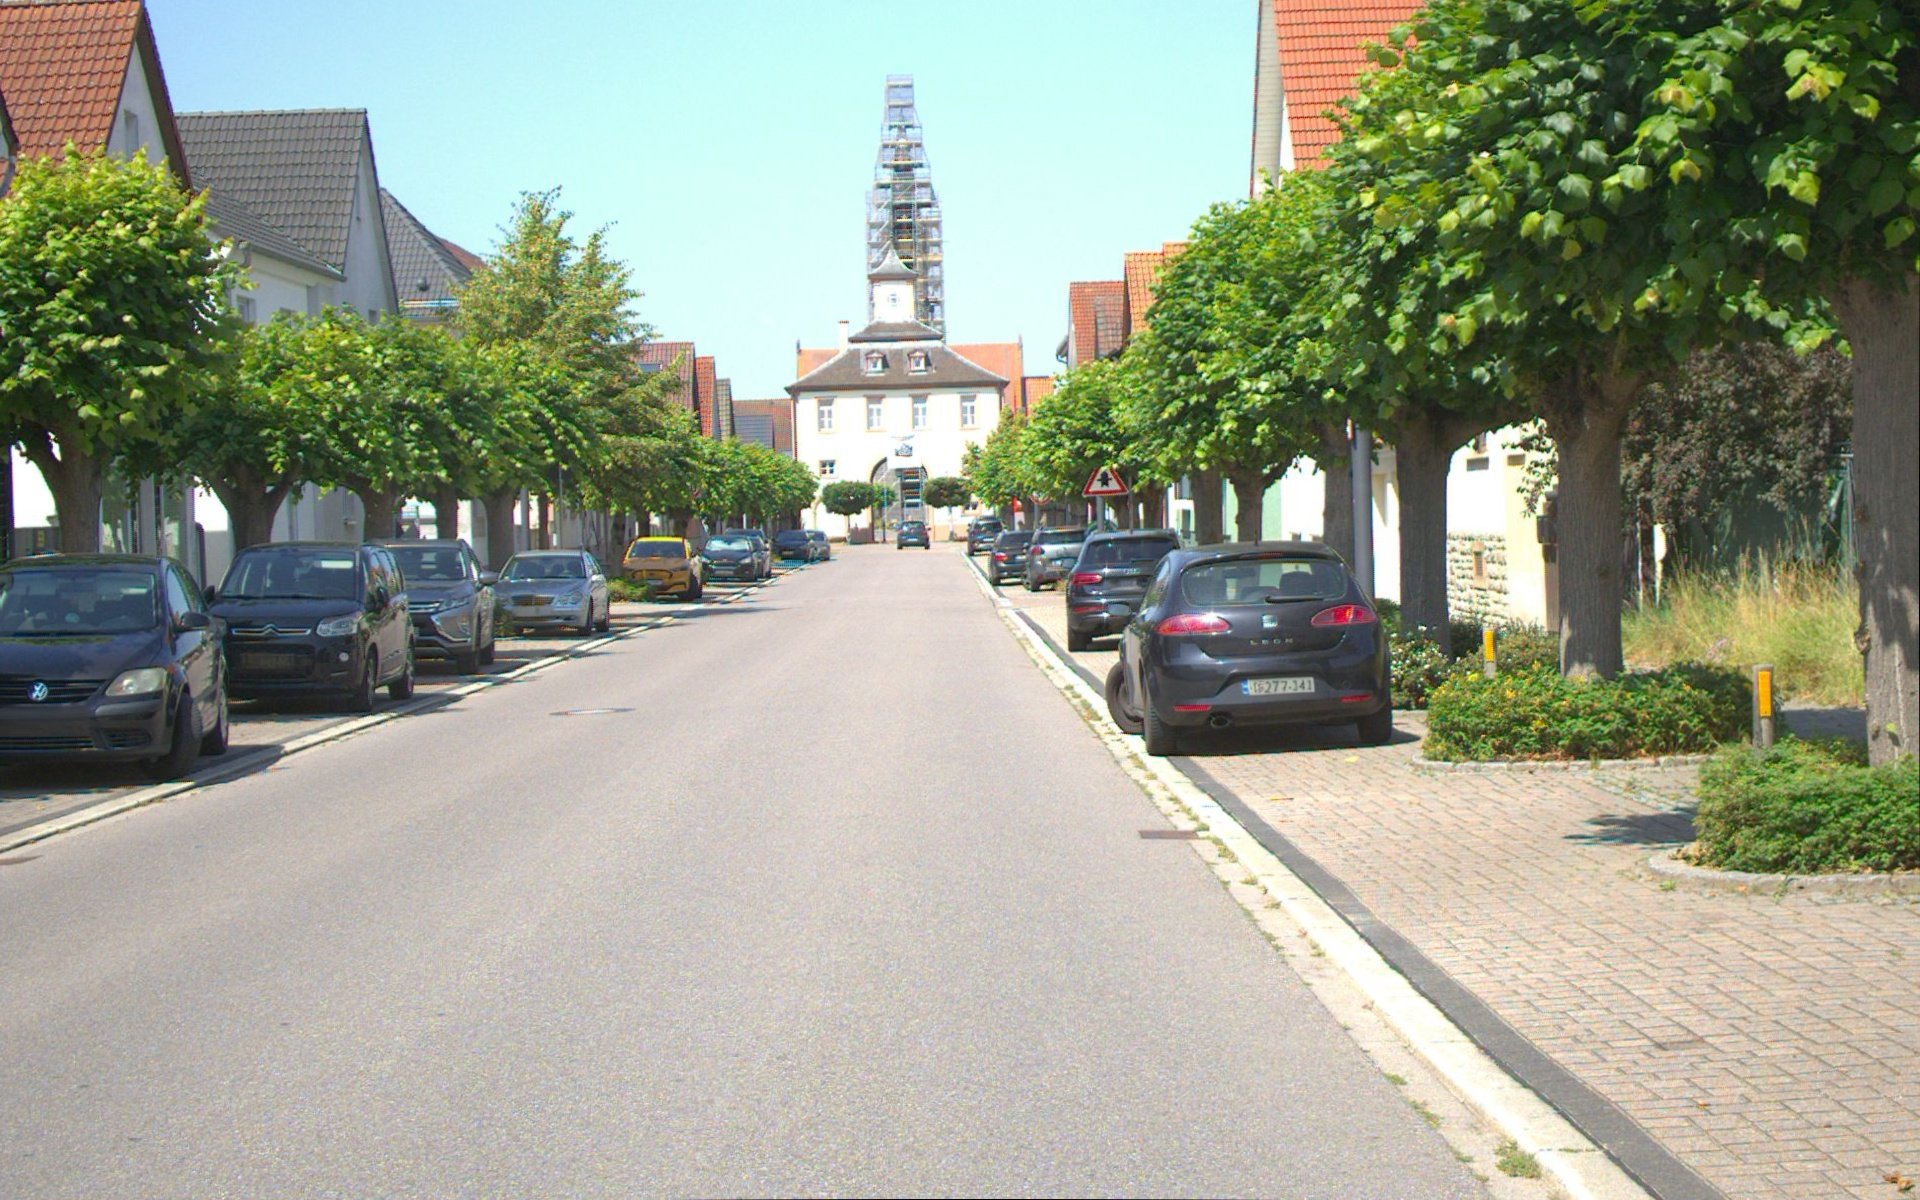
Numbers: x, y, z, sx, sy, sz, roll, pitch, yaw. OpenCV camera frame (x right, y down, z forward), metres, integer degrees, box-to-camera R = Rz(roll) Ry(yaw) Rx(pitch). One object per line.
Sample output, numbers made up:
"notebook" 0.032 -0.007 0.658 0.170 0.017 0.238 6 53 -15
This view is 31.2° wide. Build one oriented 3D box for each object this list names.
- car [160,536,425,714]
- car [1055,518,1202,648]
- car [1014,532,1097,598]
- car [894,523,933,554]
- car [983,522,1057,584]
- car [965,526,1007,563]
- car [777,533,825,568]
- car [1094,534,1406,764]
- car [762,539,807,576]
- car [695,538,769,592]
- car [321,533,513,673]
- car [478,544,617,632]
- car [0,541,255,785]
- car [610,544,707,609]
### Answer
"car" -6.503 0.211 33.883 1.853 1.629 4.057 0 1 -1
"car" 2.302 -0.264 46.528 1.824 1.580 4.056 -3 1 3
"car" 2.405 -0.912 87.147 1.837 1.602 4.001 -1 1 -2
"car" -2.422 -3.211 179.936 1.730 1.542 3.455 0 0 5
"car" 1.634 -1.307 94.666 1.837 1.550 4.314 -3 1 -1
"car" 1.170 -2.561 157.440 1.837 1.550 4.314 -3 1 0
"car" -7.271 -2.260 157.512 1.993 1.606 3.855 0 0 1
"car" 2.039 0.296 25.249 1.824 1.427 4.057 -4 1 -1
"car" -7.724 -1.900 151.774 1.757 1.550 4.020 -1 1 0
"car" -7.189 -1.134 108.779 1.993 1.606 4.689 0 2 1
"car" -6.736 -0.003 43.069 1.993 1.647 4.368 0 1 -4
"car" -6.841 -0.227 57.382 1.840 1.391 4.407 -1 1 -1
"car" -6.237 0.394 24.983 1.785 1.628 4.001 0 1 -6
"car" -7.619 -0.615 87.213 1.993 1.606 4.689 0 1 1
